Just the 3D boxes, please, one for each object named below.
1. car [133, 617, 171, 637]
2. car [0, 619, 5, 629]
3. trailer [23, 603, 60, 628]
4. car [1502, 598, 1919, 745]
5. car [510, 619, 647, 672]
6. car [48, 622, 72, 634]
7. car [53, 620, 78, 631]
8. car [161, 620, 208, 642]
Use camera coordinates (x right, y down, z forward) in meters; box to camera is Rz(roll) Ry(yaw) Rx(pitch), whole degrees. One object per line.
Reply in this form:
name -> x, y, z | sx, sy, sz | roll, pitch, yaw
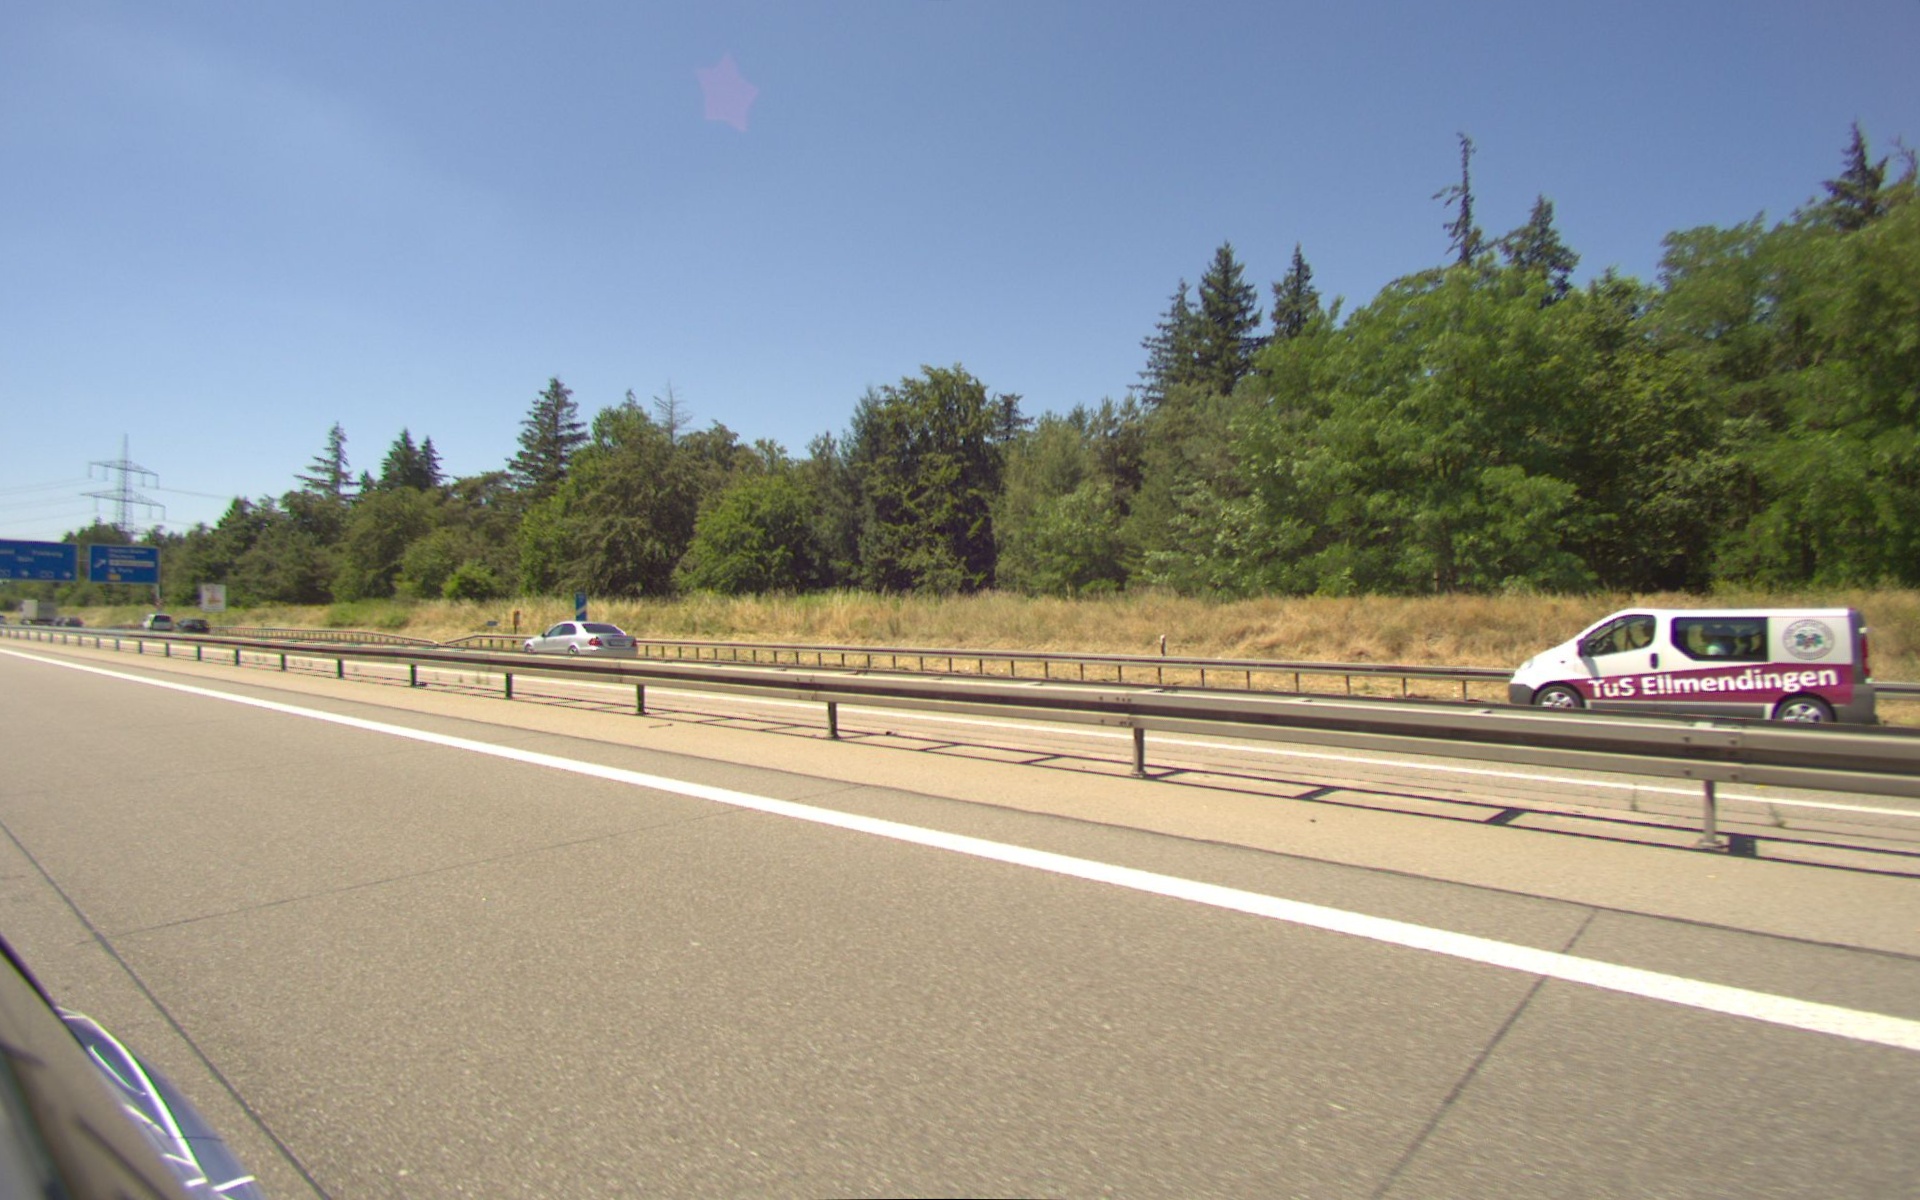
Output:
car -> -76.674, 2.561, 96.011 | 4.640, 1.842, 1.973 | -1, -3, 41
car -> -182.799, 4.542, 191.900 | 4.987, 1.763, 1.973 | -1, -1, 41
trailer -> -147.030, 2.471, 161.932 | 13.963, 3.960, 3.134 | -1, -1, 43
car -> 11.653, 1.030, 15.893 | 5.242, 1.968, 1.972 | -1, -3, 41
car -> -12.151, 1.374, 32.064 | 5.202, 1.539, 1.832 | -1, -2, 41
car -> -130.294, 4.026, 146.498 | 4.941, 1.474, 2.064 | 2, 0, 41
car -> -117.668, 3.359, 133.116 | 4.940, 1.474, 1.907 | -1, -2, 41
car -> -62.597, 2.490, 81.694 | 4.976, 1.716, 1.973 | -1, -3, 41
